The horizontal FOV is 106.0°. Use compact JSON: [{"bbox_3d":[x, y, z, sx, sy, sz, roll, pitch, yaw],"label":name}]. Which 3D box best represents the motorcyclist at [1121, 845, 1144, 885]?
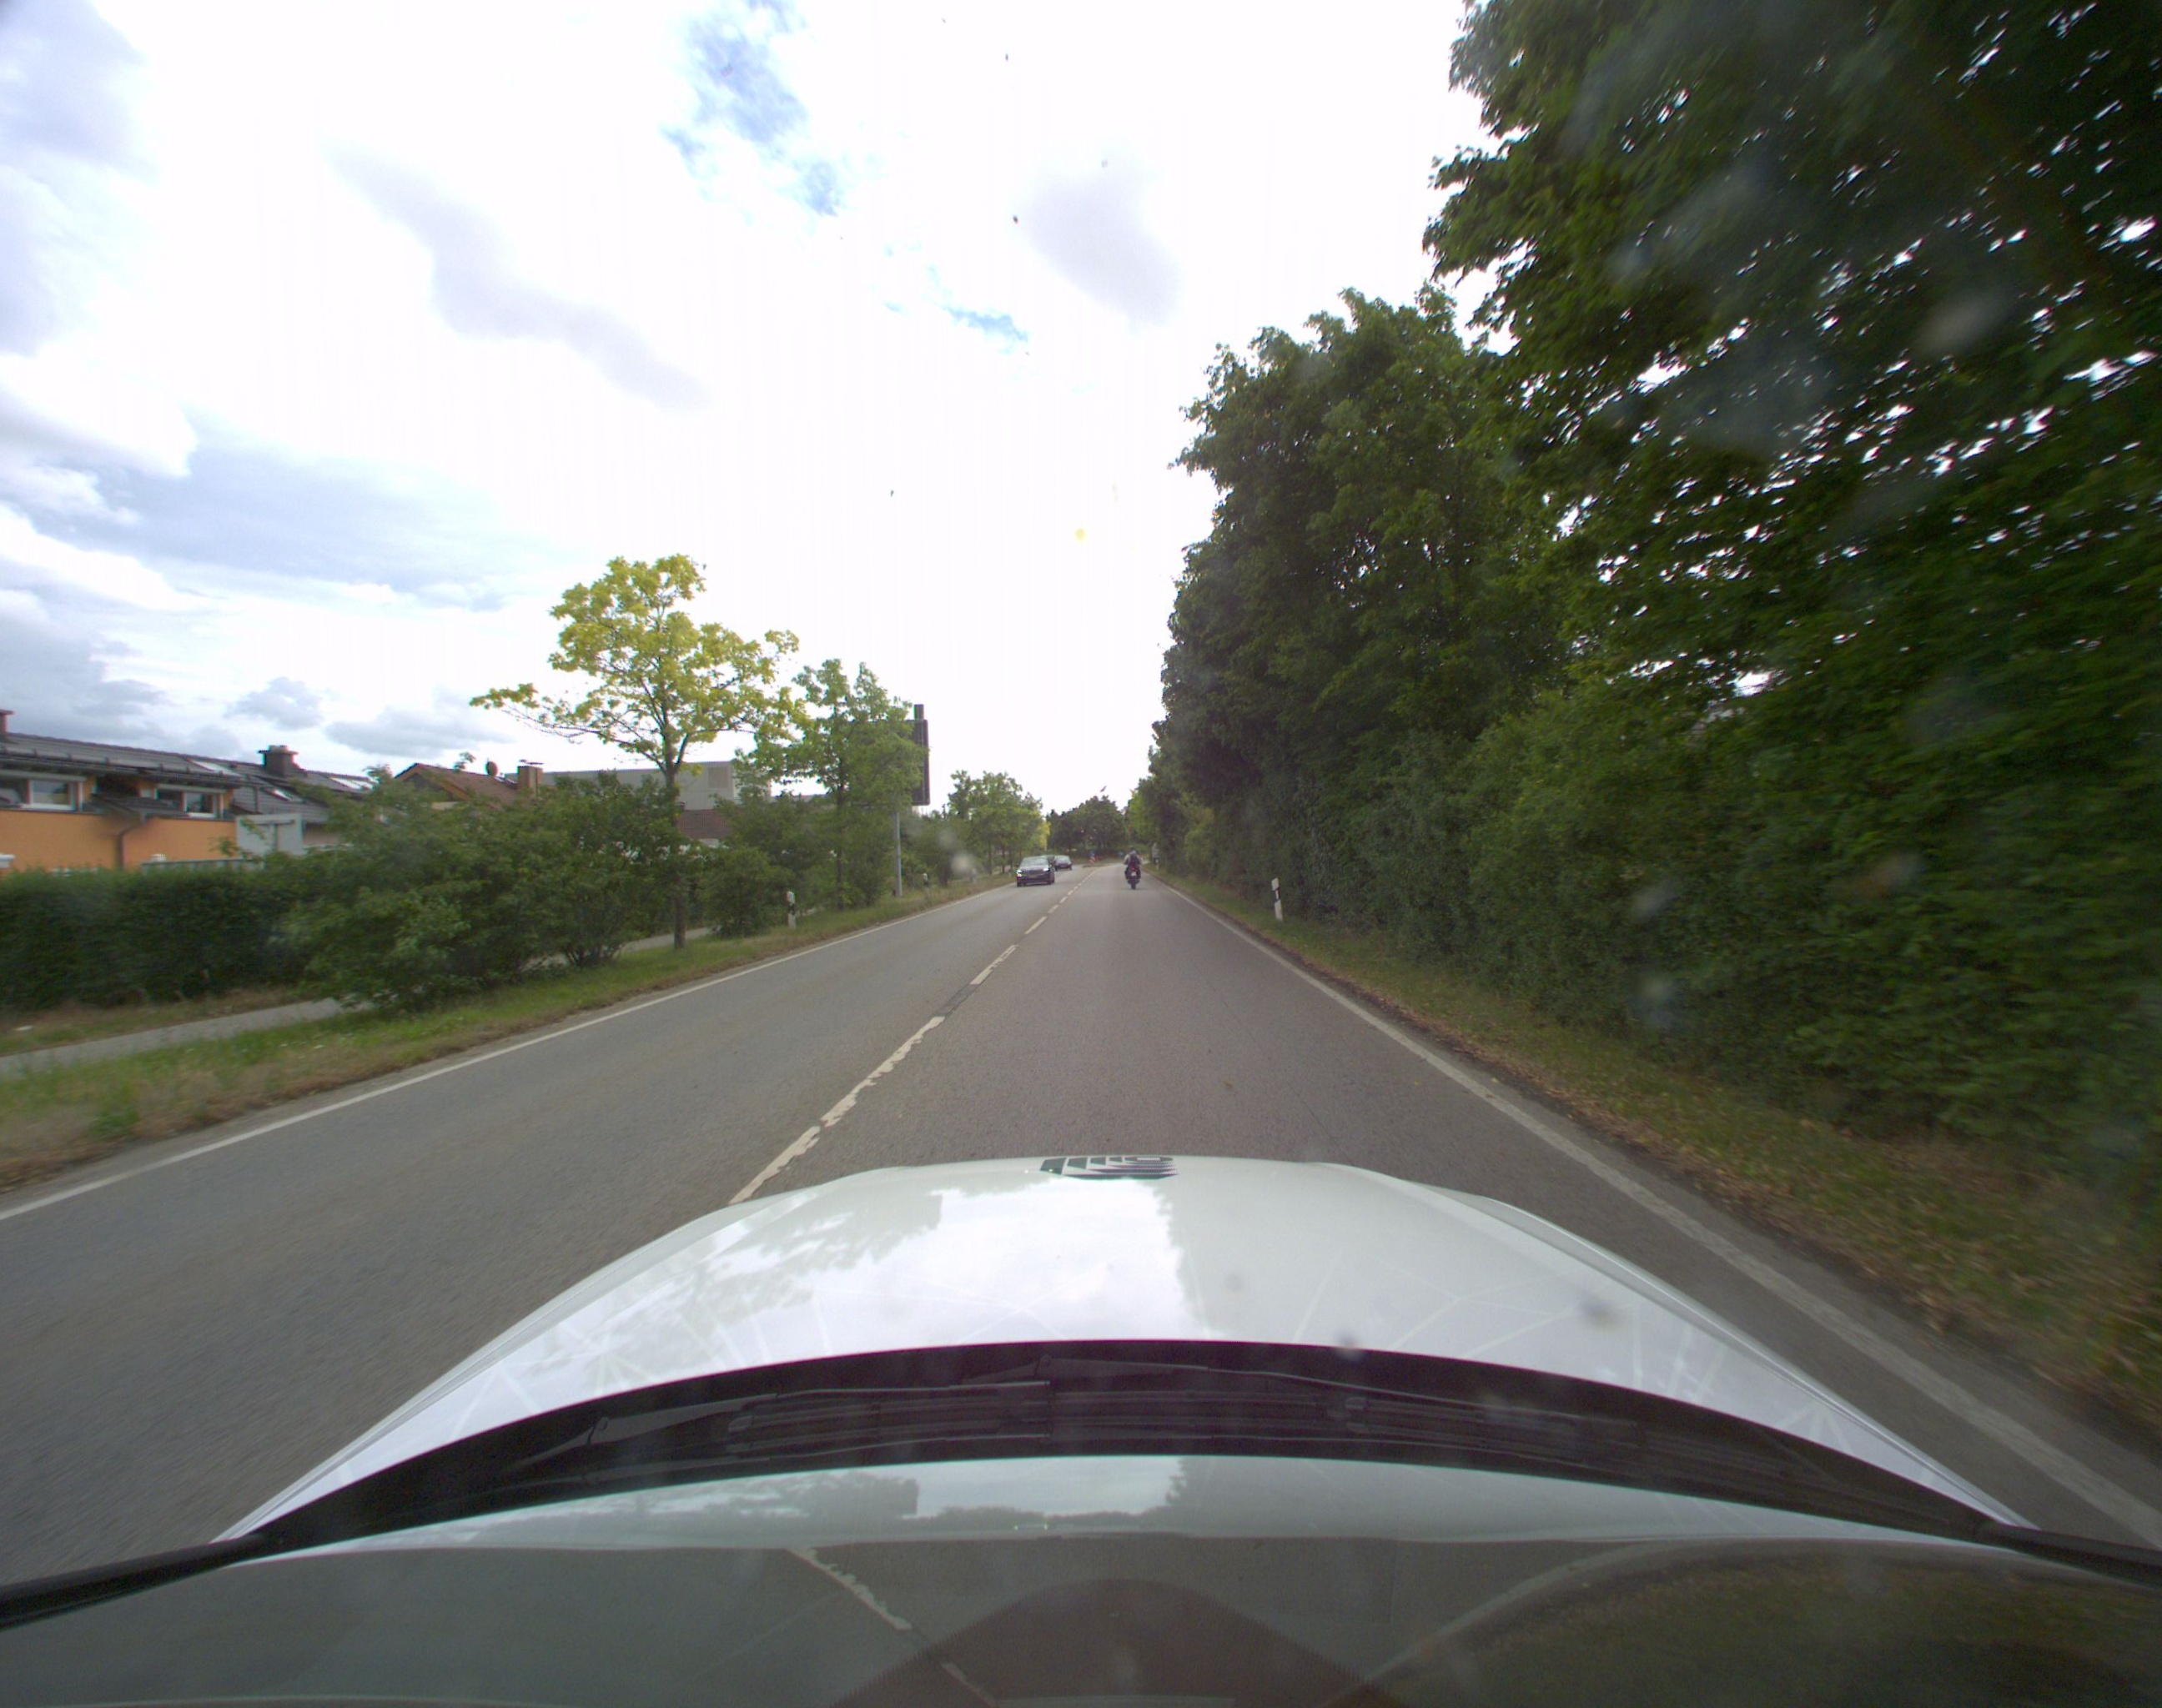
[{"bbox_3d":[2.153,0.450,34.360,0.858,1.623,1.191,-2,0,2],"label":"motorcyclist"}]

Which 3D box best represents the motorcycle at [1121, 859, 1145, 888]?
[{"bbox_3d":[2.175,0.792,34.342,0.893,1.158,2.621,-2,0,2],"label":"motorcycle"}]

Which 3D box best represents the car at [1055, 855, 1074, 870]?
[{"bbox_3d":[-1.594,0.820,80.996,1.671,1.411,4.013,-4,0,1],"label":"car"}]

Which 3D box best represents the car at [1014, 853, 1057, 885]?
[{"bbox_3d":[-2.368,0.760,43.367,1.809,1.494,4.206,-3,0,2],"label":"car"}]
